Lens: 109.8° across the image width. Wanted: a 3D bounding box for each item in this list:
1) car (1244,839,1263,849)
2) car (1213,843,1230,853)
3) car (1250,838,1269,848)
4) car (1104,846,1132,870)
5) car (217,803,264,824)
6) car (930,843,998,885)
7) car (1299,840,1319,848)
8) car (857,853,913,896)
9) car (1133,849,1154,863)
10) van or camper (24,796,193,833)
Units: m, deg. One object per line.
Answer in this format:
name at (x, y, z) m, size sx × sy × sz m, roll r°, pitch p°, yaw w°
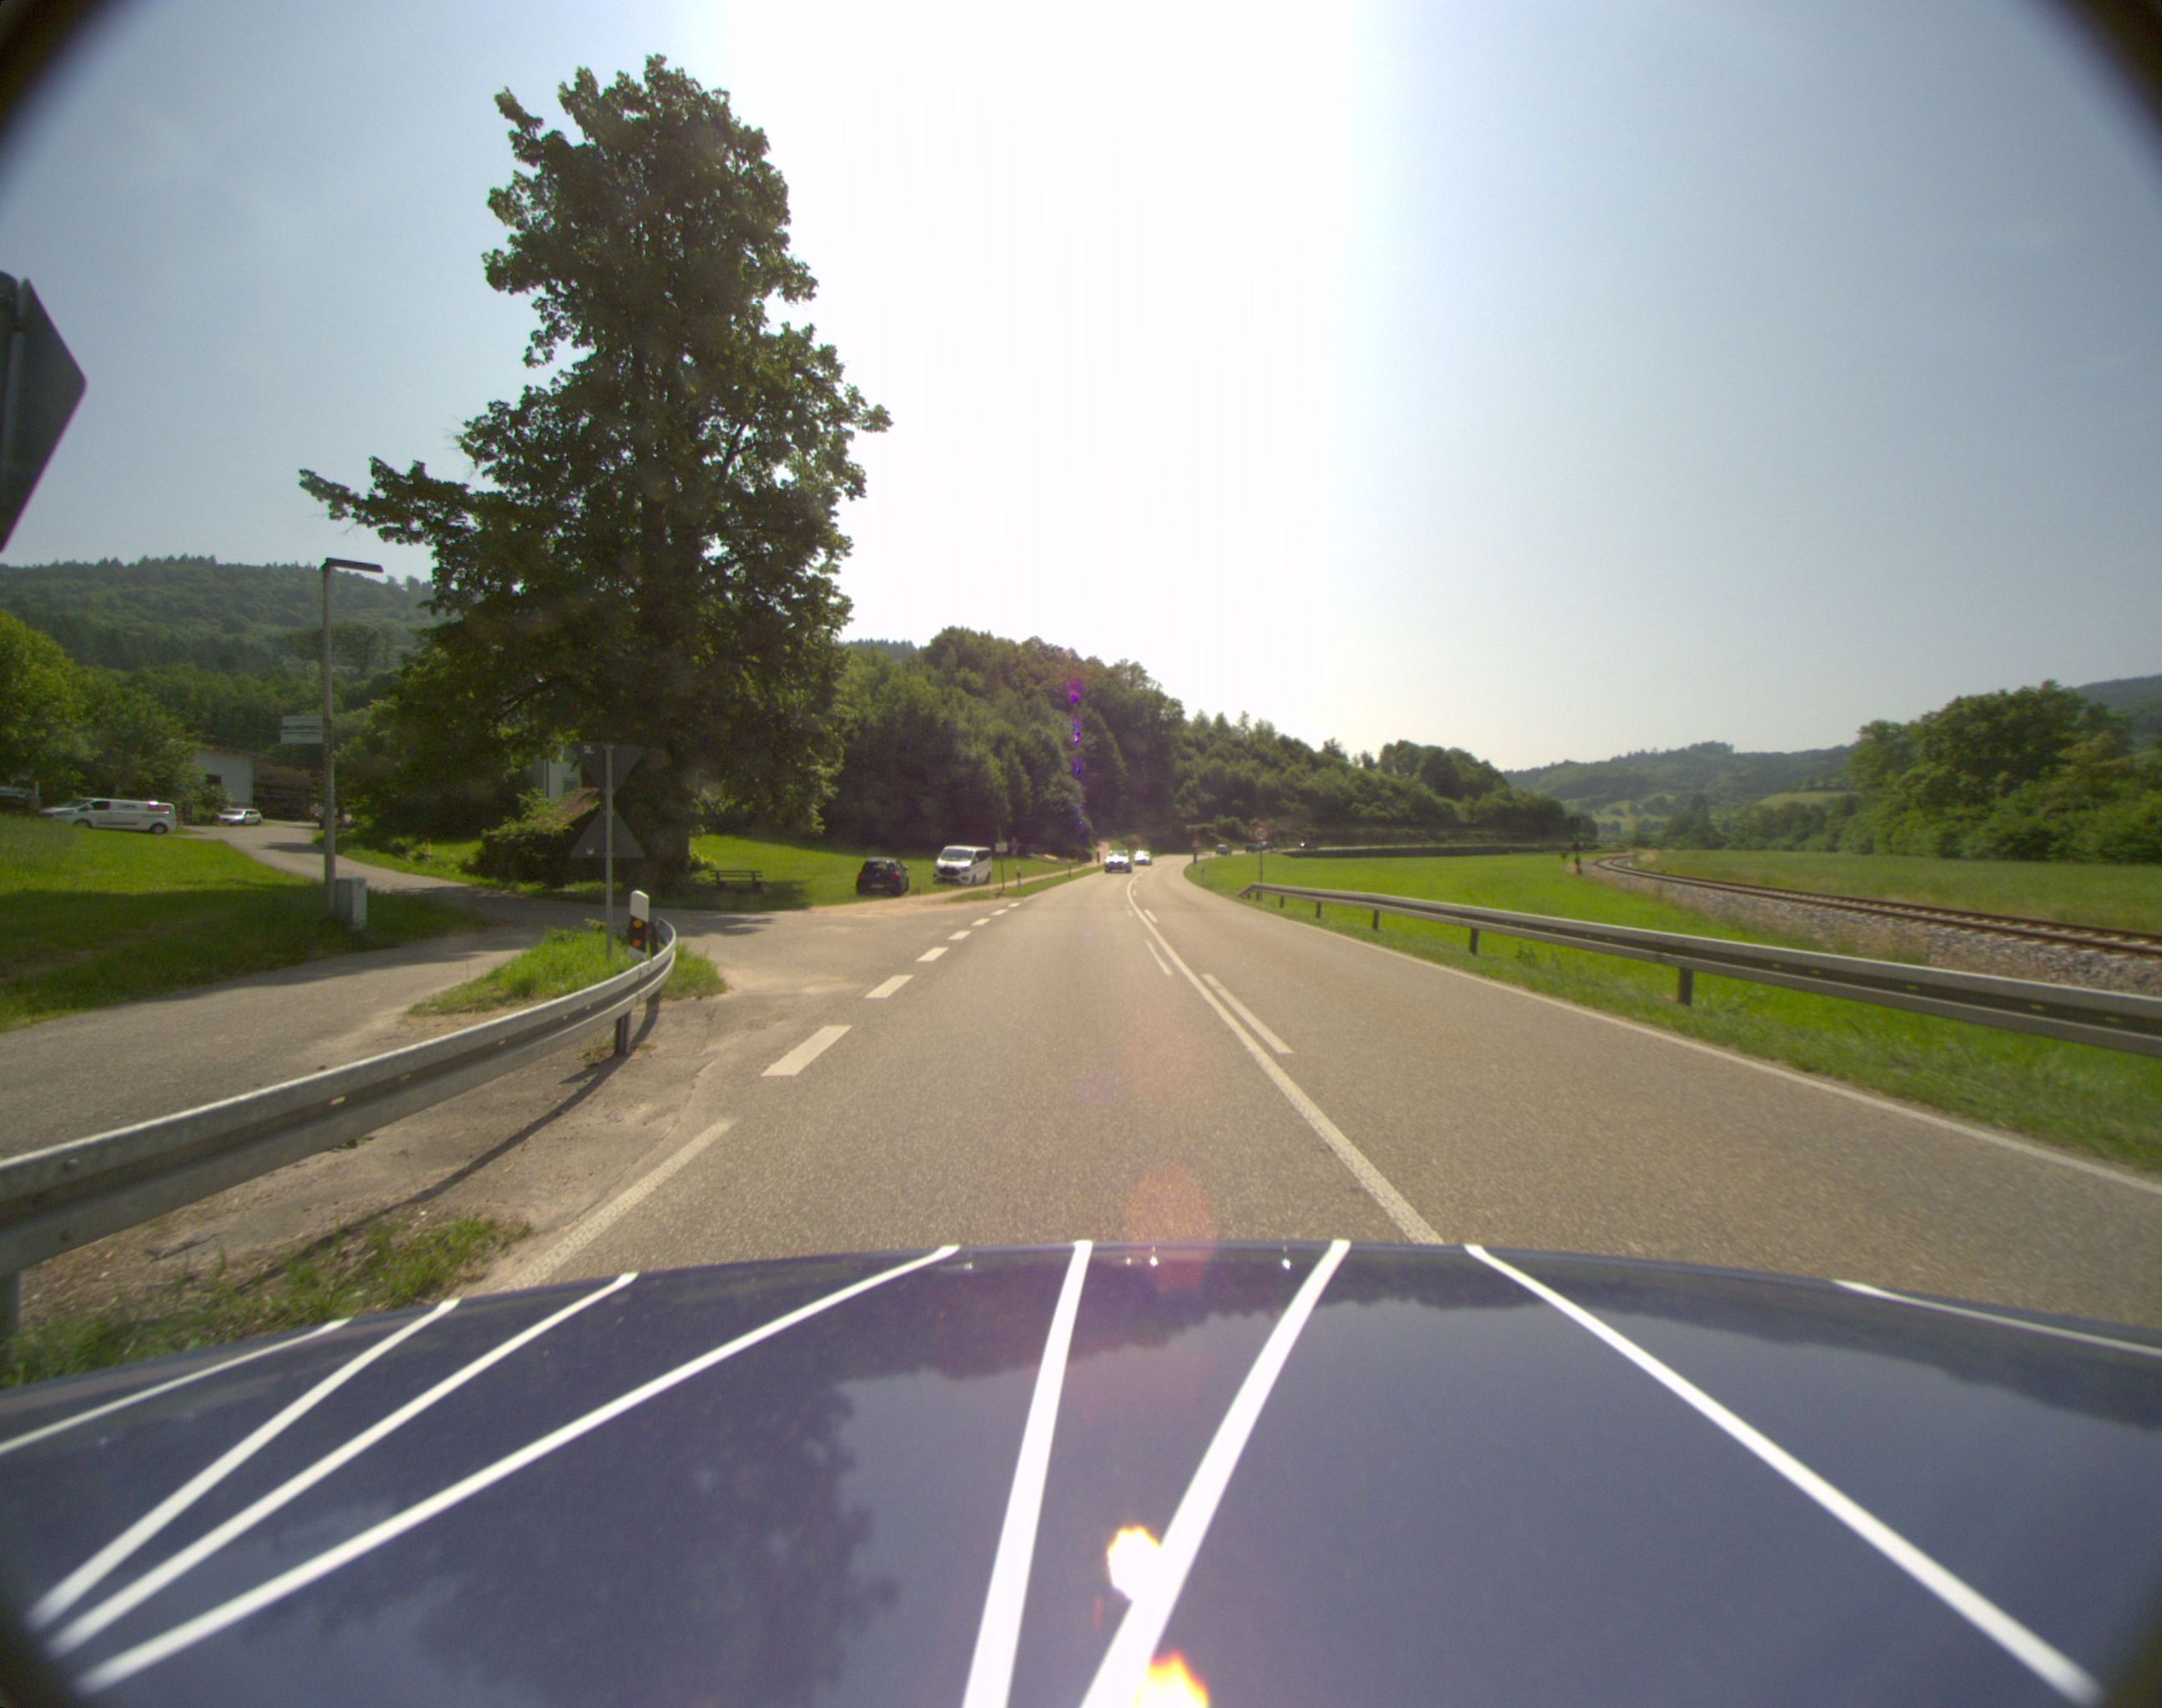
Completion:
car at (32.895, -1.896, 144.583) m, size 1.867 × 1.614 × 4.520 m, roll -2°, pitch -1°, yaw 35°
car at (24.648, -1.002, 132.852) m, size 1.916 × 1.704 × 4.166 m, roll 1°, pitch 1°, yaw 25°
car at (36.252, -2.166, 154.412) m, size 1.994 × 2.002 × 4.009 m, roll 1°, pitch 1°, yaw 44°
car at (2.863, 0.283, 60.312) m, size 2.117 × 1.804 × 4.455 m, roll 1°, pitch 1°, yaw 2°
car at (-72.818, -3.520, 65.880) m, size 2.004 × 1.608 × 3.989 m, roll 0°, pitch 0°, yaw -37°
car at (-5.846, 0.464, 38.640) m, size 2.003 × 1.838 × 4.871 m, roll 5°, pitch 1°, yaw 7°
car at (48.042, -2.071, 159.911) m, size 4.520 × 1.461 × 1.918 m, roll 0°, pitch -2°, yaw -40°
car at (-7.786, 0.784, 30.506) m, size 1.679 × 1.449 × 3.712 m, roll 2°, pitch 2°, yaw -7°
car at (6.736, 0.206, 81.489) m, size 2.145 × 1.482 × 4.674 m, roll 0°, pitch 0°, yaw 7°
van or camper at (-57.112, -2.282, 44.849) m, size 2.814 × 1.938 × 5.438 m, roll 0°, pitch 0°, yaw 6°
